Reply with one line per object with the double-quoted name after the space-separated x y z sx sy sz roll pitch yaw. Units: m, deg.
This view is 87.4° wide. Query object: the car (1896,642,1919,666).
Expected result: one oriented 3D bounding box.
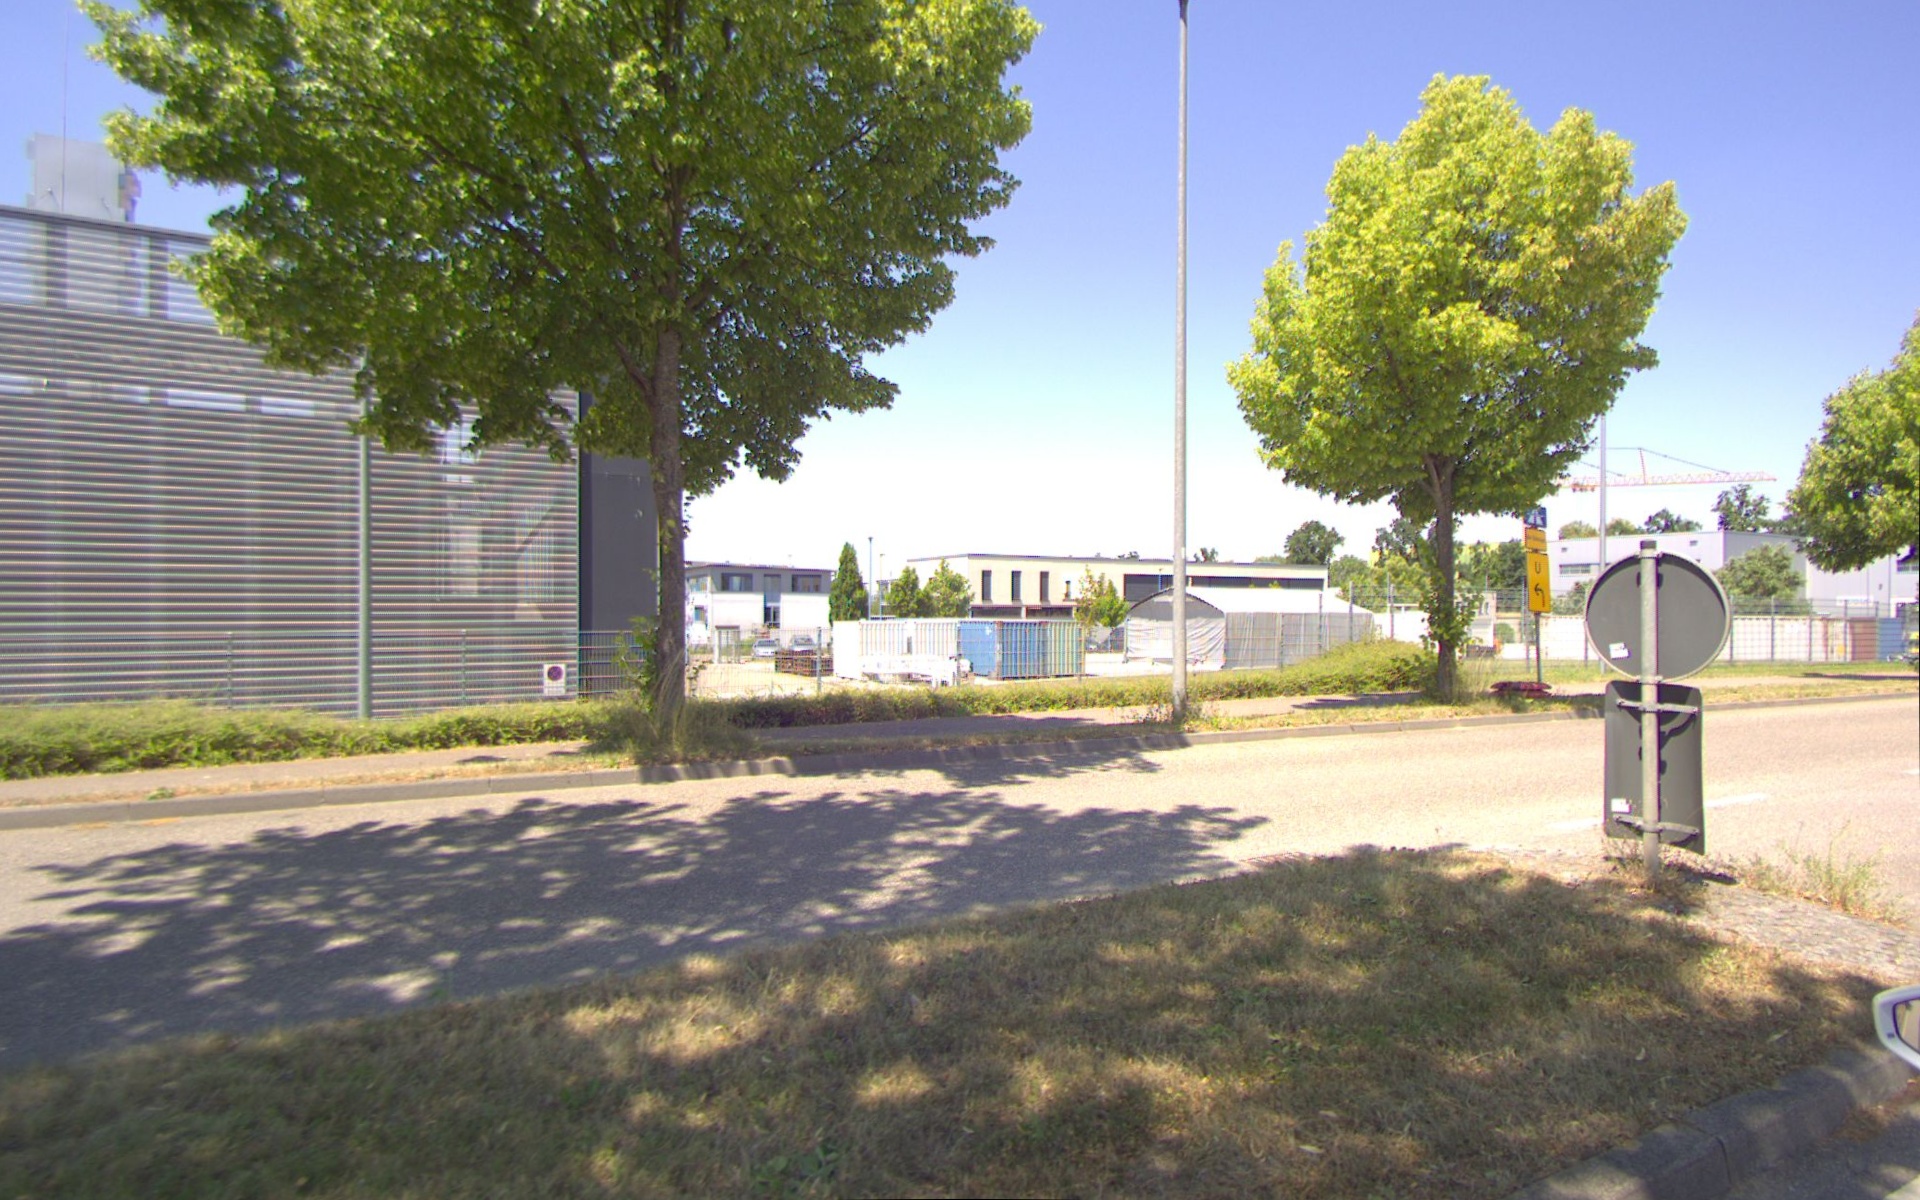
74.558 4.167 78.046 3.961 1.572 1.980 -3 0 -36 "car"
